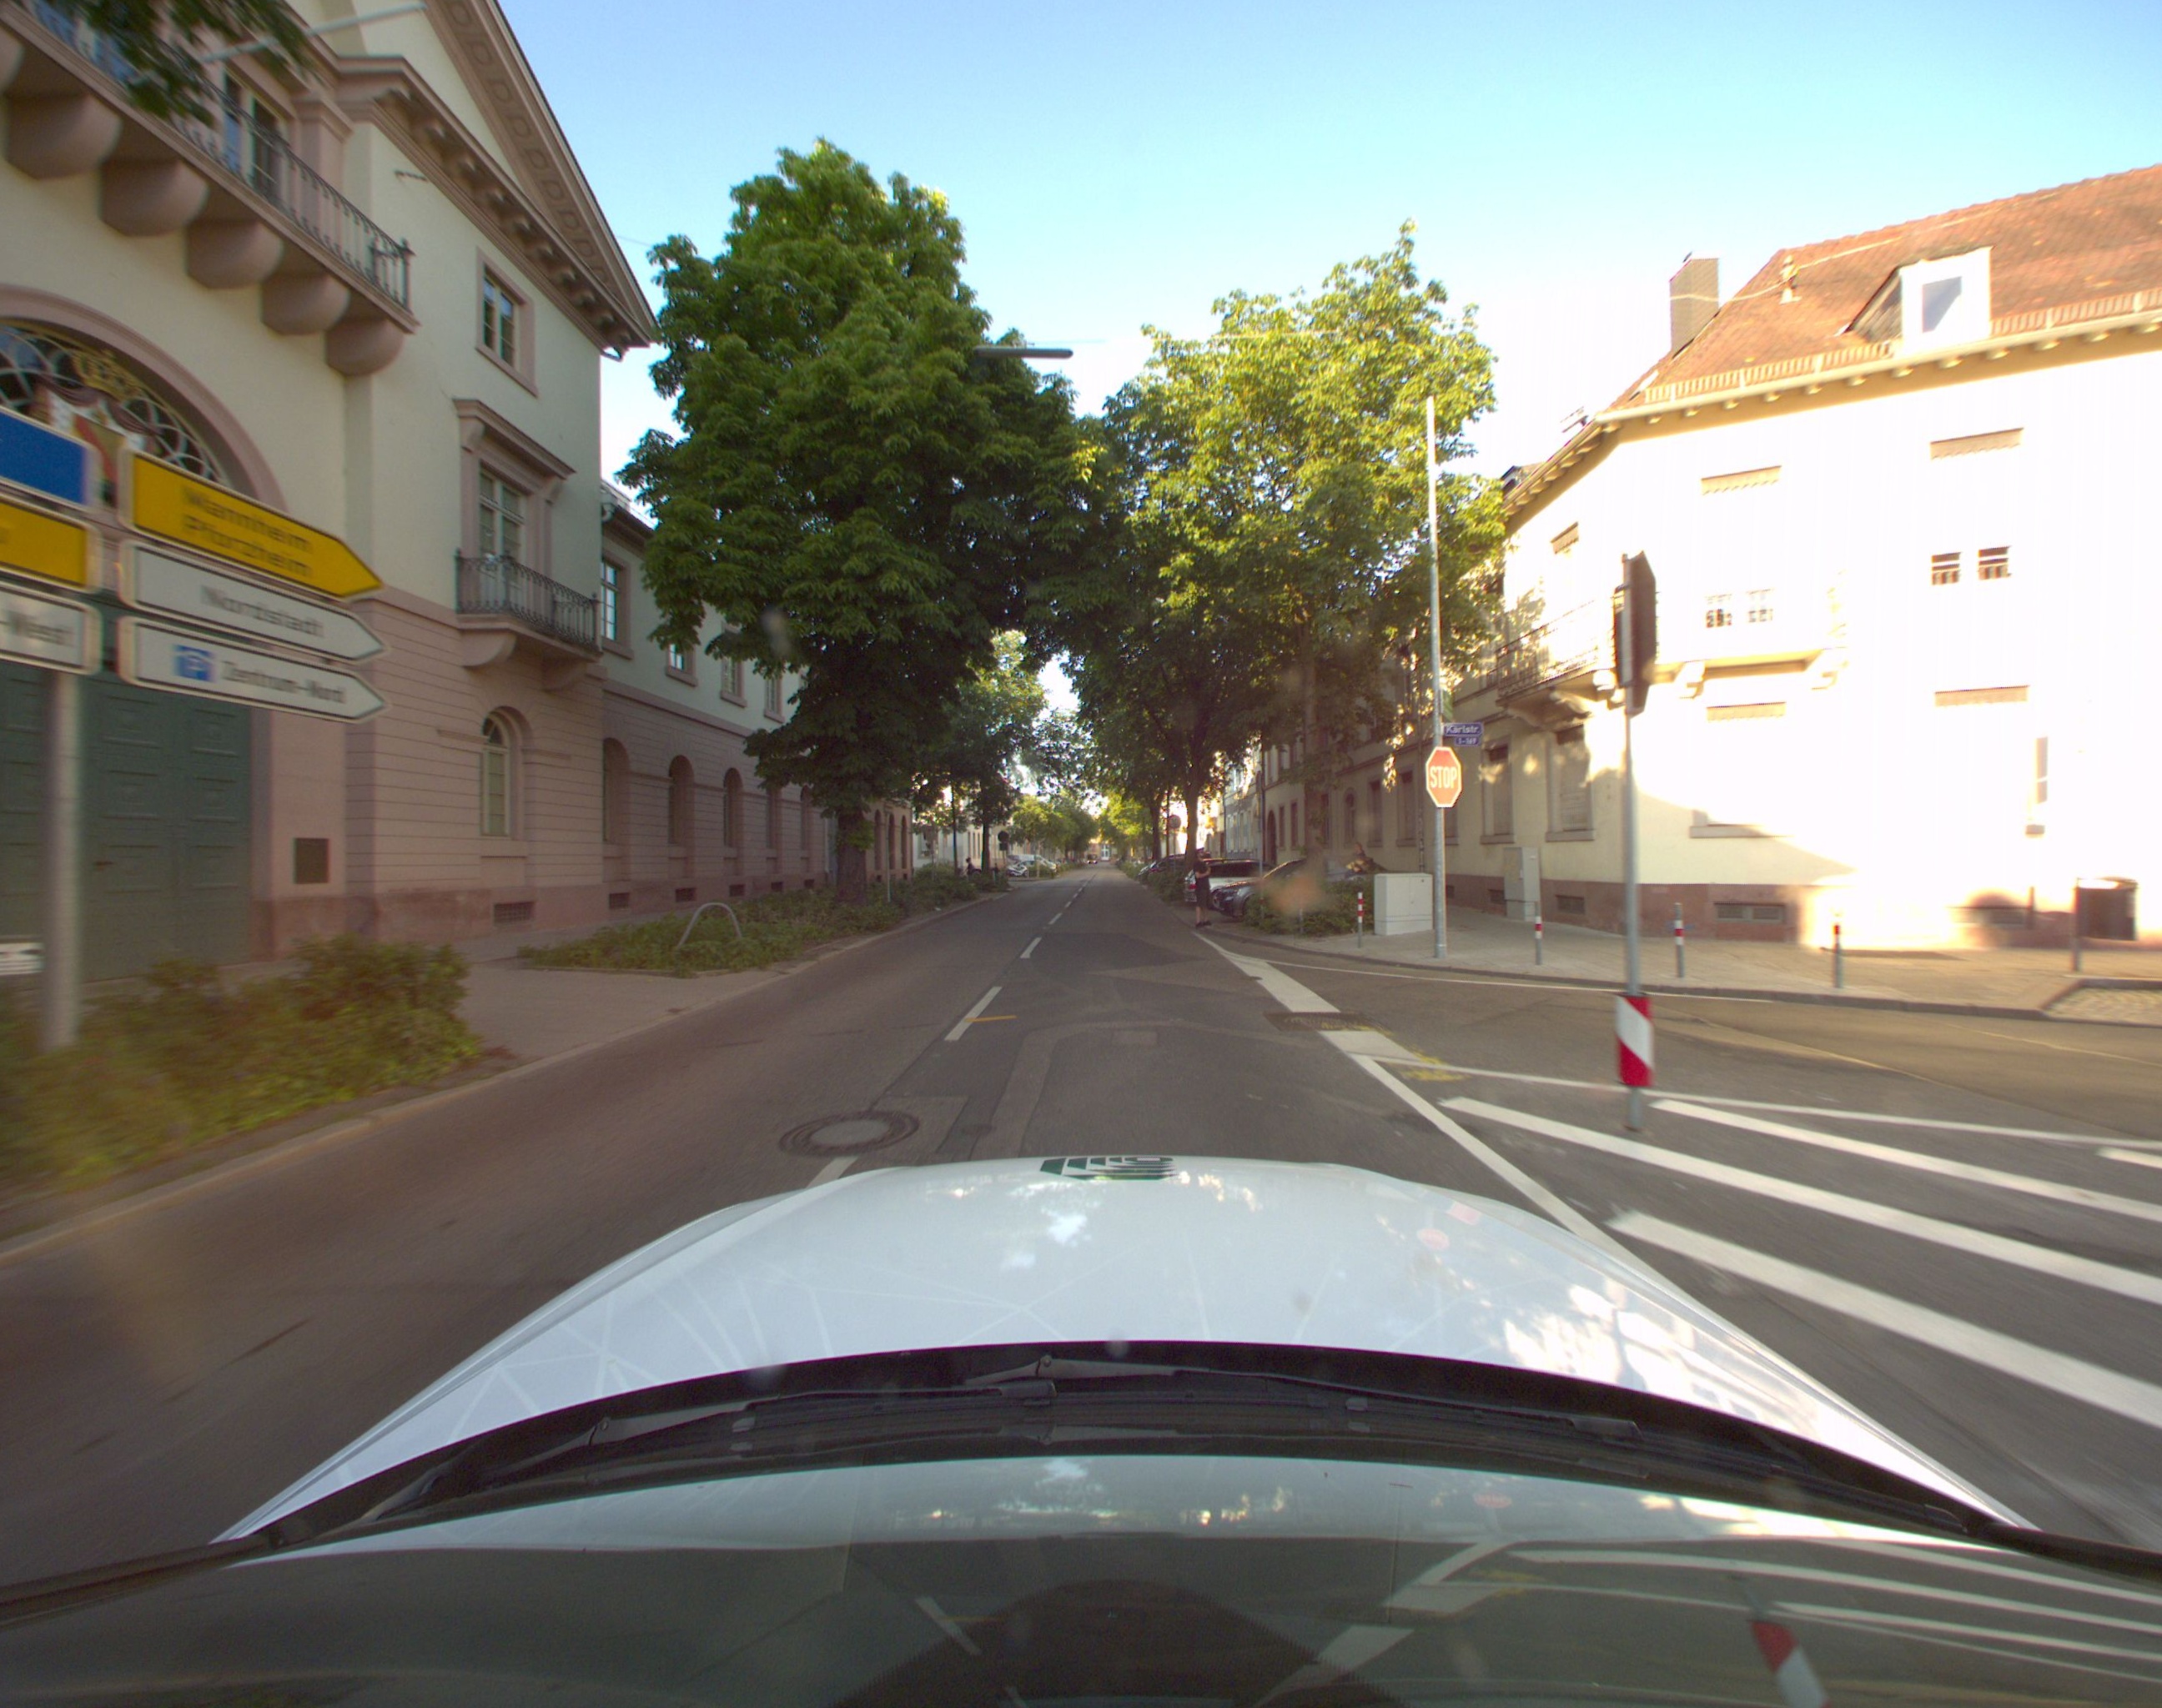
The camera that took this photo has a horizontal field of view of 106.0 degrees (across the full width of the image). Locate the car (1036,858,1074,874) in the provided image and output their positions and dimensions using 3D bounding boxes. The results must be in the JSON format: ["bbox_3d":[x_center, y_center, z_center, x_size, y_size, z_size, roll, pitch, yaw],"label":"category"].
[{"bbox_3d":[-3.646,1.675,114.966,5.044,2.083,2.264,-1,0,2],"label":"car"}]

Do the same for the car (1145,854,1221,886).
[{"bbox_3d":[5.689,0.891,45.695,4.001,1.623,1.780,-1,0,0],"label":"car"}]

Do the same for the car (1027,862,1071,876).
[{"bbox_3d":[-3.830,1.796,98.703,5.040,1.617,2.266,-1,0,4],"label":"car"}]

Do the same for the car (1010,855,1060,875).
[{"bbox_3d":[-4.824,1.155,86.455,5.043,1.823,2.265,-1,2,3],"label":"car"}]

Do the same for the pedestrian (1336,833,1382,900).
[{"bbox_3d":[7.277,0.310,21.342,0.939,1.706,0.783,-1,1,3],"label":"pedestrian"}]

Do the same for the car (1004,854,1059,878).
[{"bbox_3d":[-4.743,1.141,78.650,5.046,2.083,2.263,-1,0,1],"label":"car"}]

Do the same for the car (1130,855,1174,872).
[{"bbox_3d":[7.677,1.023,88.558,4.574,1.761,2.223,-1,0,2],"label":"car"}]

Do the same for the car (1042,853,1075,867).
[{"bbox_3d":[-3.648,0.997,132.111,5.044,2.083,2.264,-1,0,2],"label":"car"}]

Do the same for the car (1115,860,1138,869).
[{"bbox_3d":[7.972,1.799,143.578,3.974,1.442,1.697,-1,0,0],"label":"car"}]

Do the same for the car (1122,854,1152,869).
[{"bbox_3d":[7.459,1.010,108.357,3.968,2.014,2.003,-1,0,4],"label":"car"}]

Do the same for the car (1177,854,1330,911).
[{"bbox_3d":[5.095,0.834,24.490,4.177,1.480,1.853,-2,0,1],"label":"car"}]

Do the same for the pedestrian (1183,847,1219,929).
[{"bbox_3d":[2.804,0.774,19.037,0.790,1.869,0.753,-1,-1,6],"label":"pedestrian"}]

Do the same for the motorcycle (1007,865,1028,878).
[{"bbox_3d":[-5.001,1.371,64.056,1.630,1.068,0.656,0,0,1],"label":"motorcycle"}]

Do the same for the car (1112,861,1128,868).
[{"bbox_3d":[10.101,2.653,211.037,3.963,1.838,2.005,-1,0,9],"label":"car"}]

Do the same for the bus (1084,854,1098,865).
[{"bbox_3d":[2.850,1.580,239.540,3.025,3.190,9.379,-1,0,-7],"label":"bus"}]

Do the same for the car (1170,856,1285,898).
[{"bbox_3d":[5.474,0.856,30.792,4.001,1.480,1.780,-1,0,0],"label":"car"}]

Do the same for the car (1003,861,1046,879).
[{"bbox_3d":[-5.083,1.403,73.257,3.716,1.508,1.871,-1,0,-2],"label":"car"}]

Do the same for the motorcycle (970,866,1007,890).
[{"bbox_3d":[-4.925,1.266,43.438,1.912,1.259,0.591,-1,0,1],"label":"motorcycle"}]

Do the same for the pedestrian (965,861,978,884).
[{"bbox_3d":[-6.629,1.133,49.213,0.652,1.395,0.607,0,-1,1],"label":"pedestrian"}]

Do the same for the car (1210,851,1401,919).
[{"bbox_3d":[5.268,0.714,19.517,4.094,1.490,1.850,-1,1,0],"label":"car"}]

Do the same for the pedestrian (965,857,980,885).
[{"bbox_3d":[-6.695,1.031,50.135,0.714,1.664,0.839,-1,0,4],"label":"pedestrian"}]

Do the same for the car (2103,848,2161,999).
[{"bbox_3d":[13.024,0.687,7.333,4.368,1.543,1.878,-1,0,28],"label":"car"}]
